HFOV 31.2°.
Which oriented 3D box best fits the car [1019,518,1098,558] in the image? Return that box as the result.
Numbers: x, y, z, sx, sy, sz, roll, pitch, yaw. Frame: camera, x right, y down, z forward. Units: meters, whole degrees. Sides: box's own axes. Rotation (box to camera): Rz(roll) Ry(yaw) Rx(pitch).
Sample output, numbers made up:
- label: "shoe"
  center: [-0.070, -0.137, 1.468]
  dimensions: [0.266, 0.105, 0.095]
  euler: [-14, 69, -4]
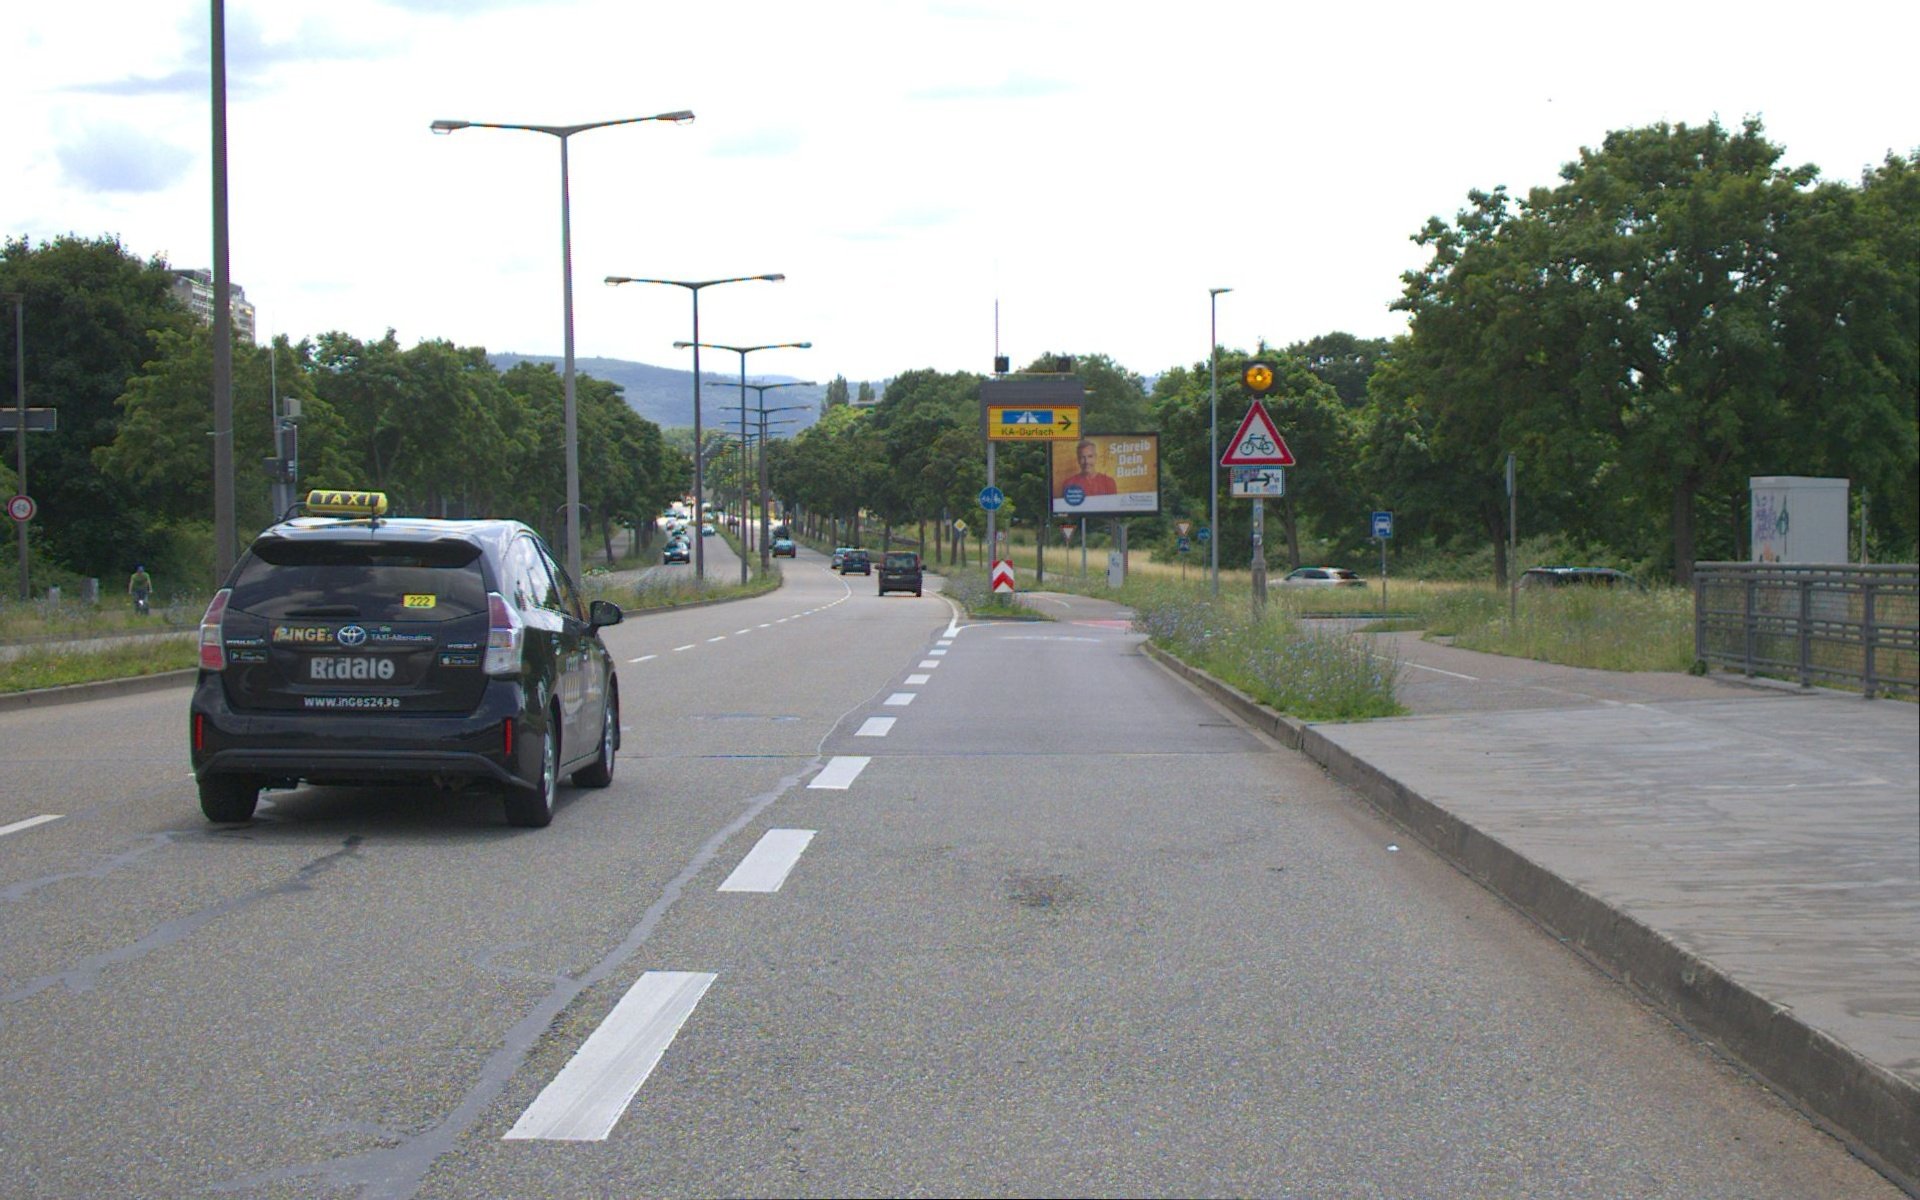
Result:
- label: "car"
  center: [4.320, -2.735, 150.901]
  dimensions: [1.993, 1.656, 4.001]
  euler: [0, 2, -22]

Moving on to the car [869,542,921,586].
- label: "car"
  center: [-2.669, -1.469, 140.364]
  dimensions: [1.993, 1.656, 4.001]
  euler: [1, 2, -3]

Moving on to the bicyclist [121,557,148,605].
- label: "bicyclist"
  center: [-22.843, -0.529, 95.090]
  dimensions: [0.520, 1.268, 1.107]
  euler: [1, 2, -3]

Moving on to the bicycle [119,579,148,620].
- label: "bicycle"
  center: [-22.847, -0.020, 95.085]
  dimensions: [0.431, 1.064, 1.908]
  euler: [1, 2, -3]

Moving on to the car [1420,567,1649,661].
- label: "car"
  center: [10.851, 0.240, 64.865]
  dimensions: [3.987, 1.656, 2.000]
  euler: [0, 2, -35]

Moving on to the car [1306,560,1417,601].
- label: "car"
  center: [16.361, -0.799, 140.106]
  dimensions: [3.996, 1.503, 1.996]
  euler: [3, 2, 37]

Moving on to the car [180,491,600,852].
- label: "car"
  center: [-2.929, 0.282, 18.406]
  dimensions: [1.779, 1.678, 4.001]
  euler: [1, 2, -3]
